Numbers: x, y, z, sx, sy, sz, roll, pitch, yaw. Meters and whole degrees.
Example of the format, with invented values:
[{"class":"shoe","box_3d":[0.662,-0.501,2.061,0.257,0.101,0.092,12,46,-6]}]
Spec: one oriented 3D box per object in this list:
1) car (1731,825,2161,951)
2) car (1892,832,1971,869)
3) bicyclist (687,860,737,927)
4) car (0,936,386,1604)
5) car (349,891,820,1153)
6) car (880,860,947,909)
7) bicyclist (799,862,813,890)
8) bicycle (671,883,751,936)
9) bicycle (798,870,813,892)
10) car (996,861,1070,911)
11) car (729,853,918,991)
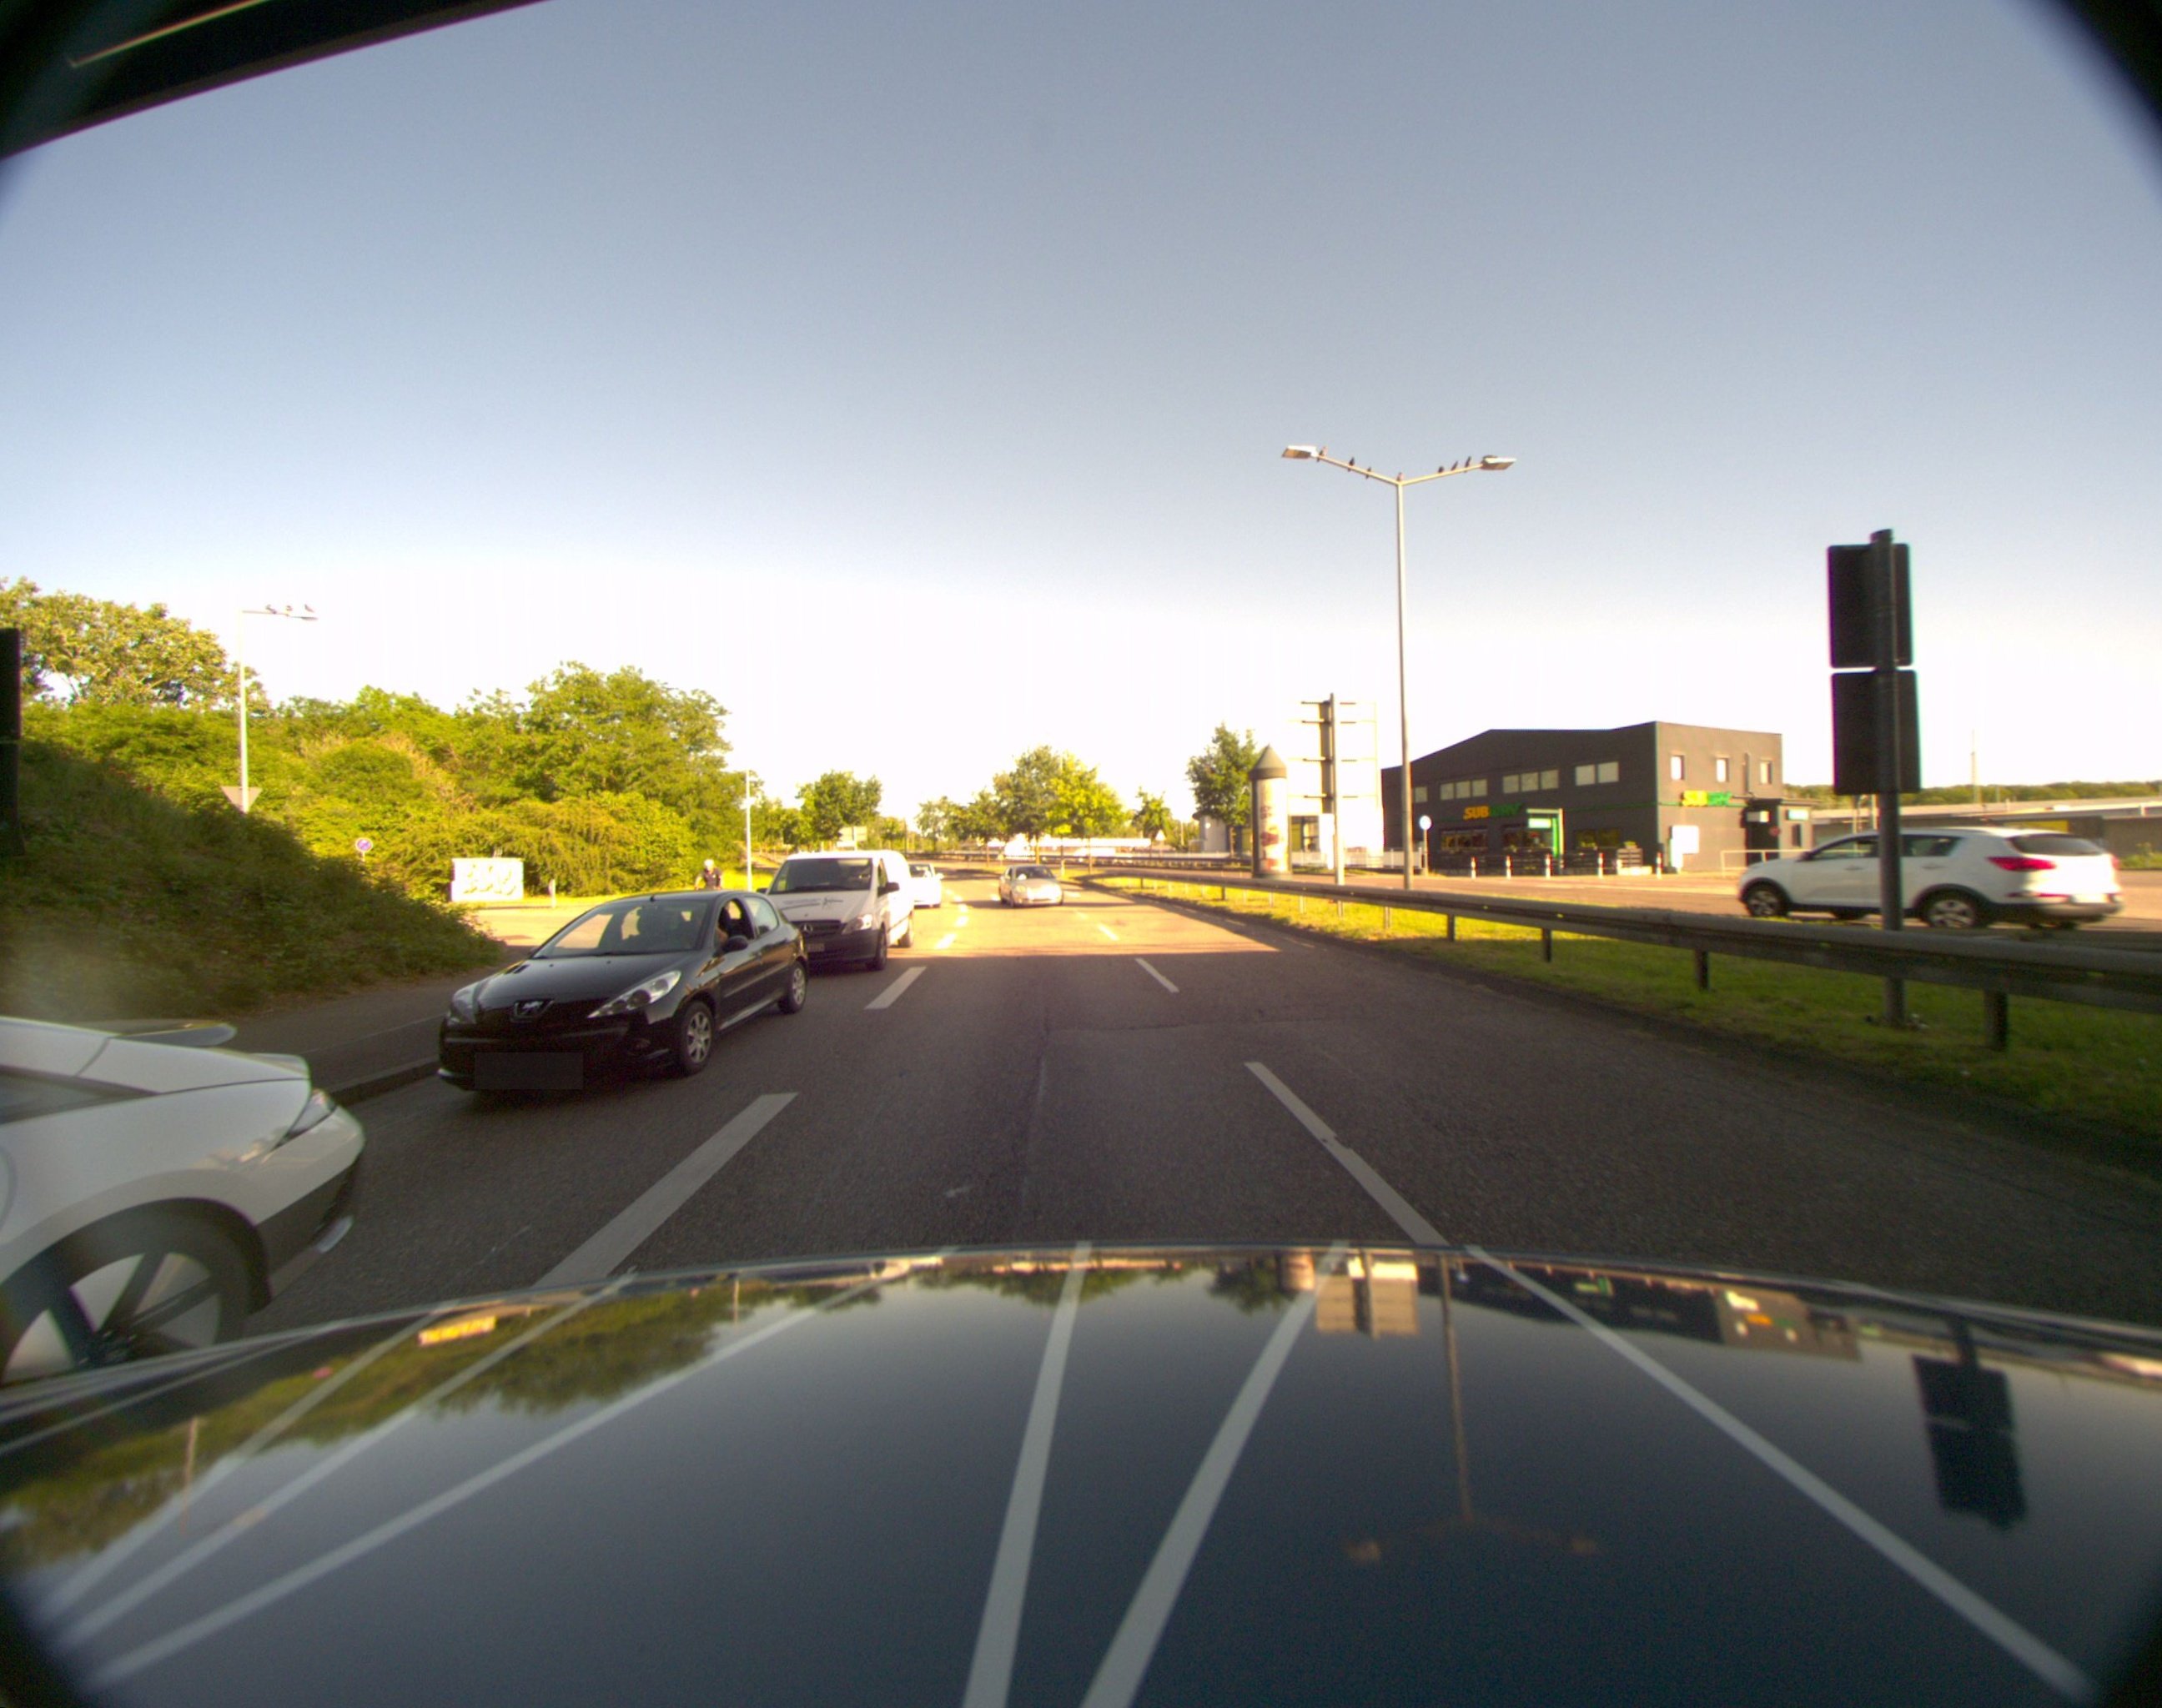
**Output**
[{"class":"car","box_3d":[13.236,0.423,12.118,1.805,1.597,4.293,-2,1,-6]},{"class":"car","box_3d":[37.565,-0.156,33.540,4.006,1.434,1.878,-3,1,-35]},{"class":"bicyclist","box_3d":[-9.621,1.011,19.842,0.748,1.646,0.886,-3,1,1]},{"class":"car","box_3d":[-3.391,1.061,0.408,1.750,1.447,4.663,-2,0,-1]},{"class":"car","box_3d":[-3.881,1.192,6.831,1.750,1.447,3.716,-2,0,0]},{"class":"car","box_3d":[-6.065,1.056,28.021,2.000,1.542,4.417,-2,1,-8]},{"class":"bicyclist","box_3d":[-15.495,1.227,42.758,0.656,1.525,0.845,1,0,-24]},{"class":"bicycle","box_3d":[-9.601,1.410,19.851,0.767,1.139,2.469,-3,1,1]},{"class":"bicycle","box_3d":[-15.528,1.526,42.819,0.654,1.160,1.775,1,-1,-24]},{"class":"car","box_3d":[-1.803,1.065,27.025,1.703,1.446,4.392,-4,1,-15]},{"class":"car","box_3d":[-4.083,0.950,12.957,1.903,1.825,4.833,-2,0,-5]}]
